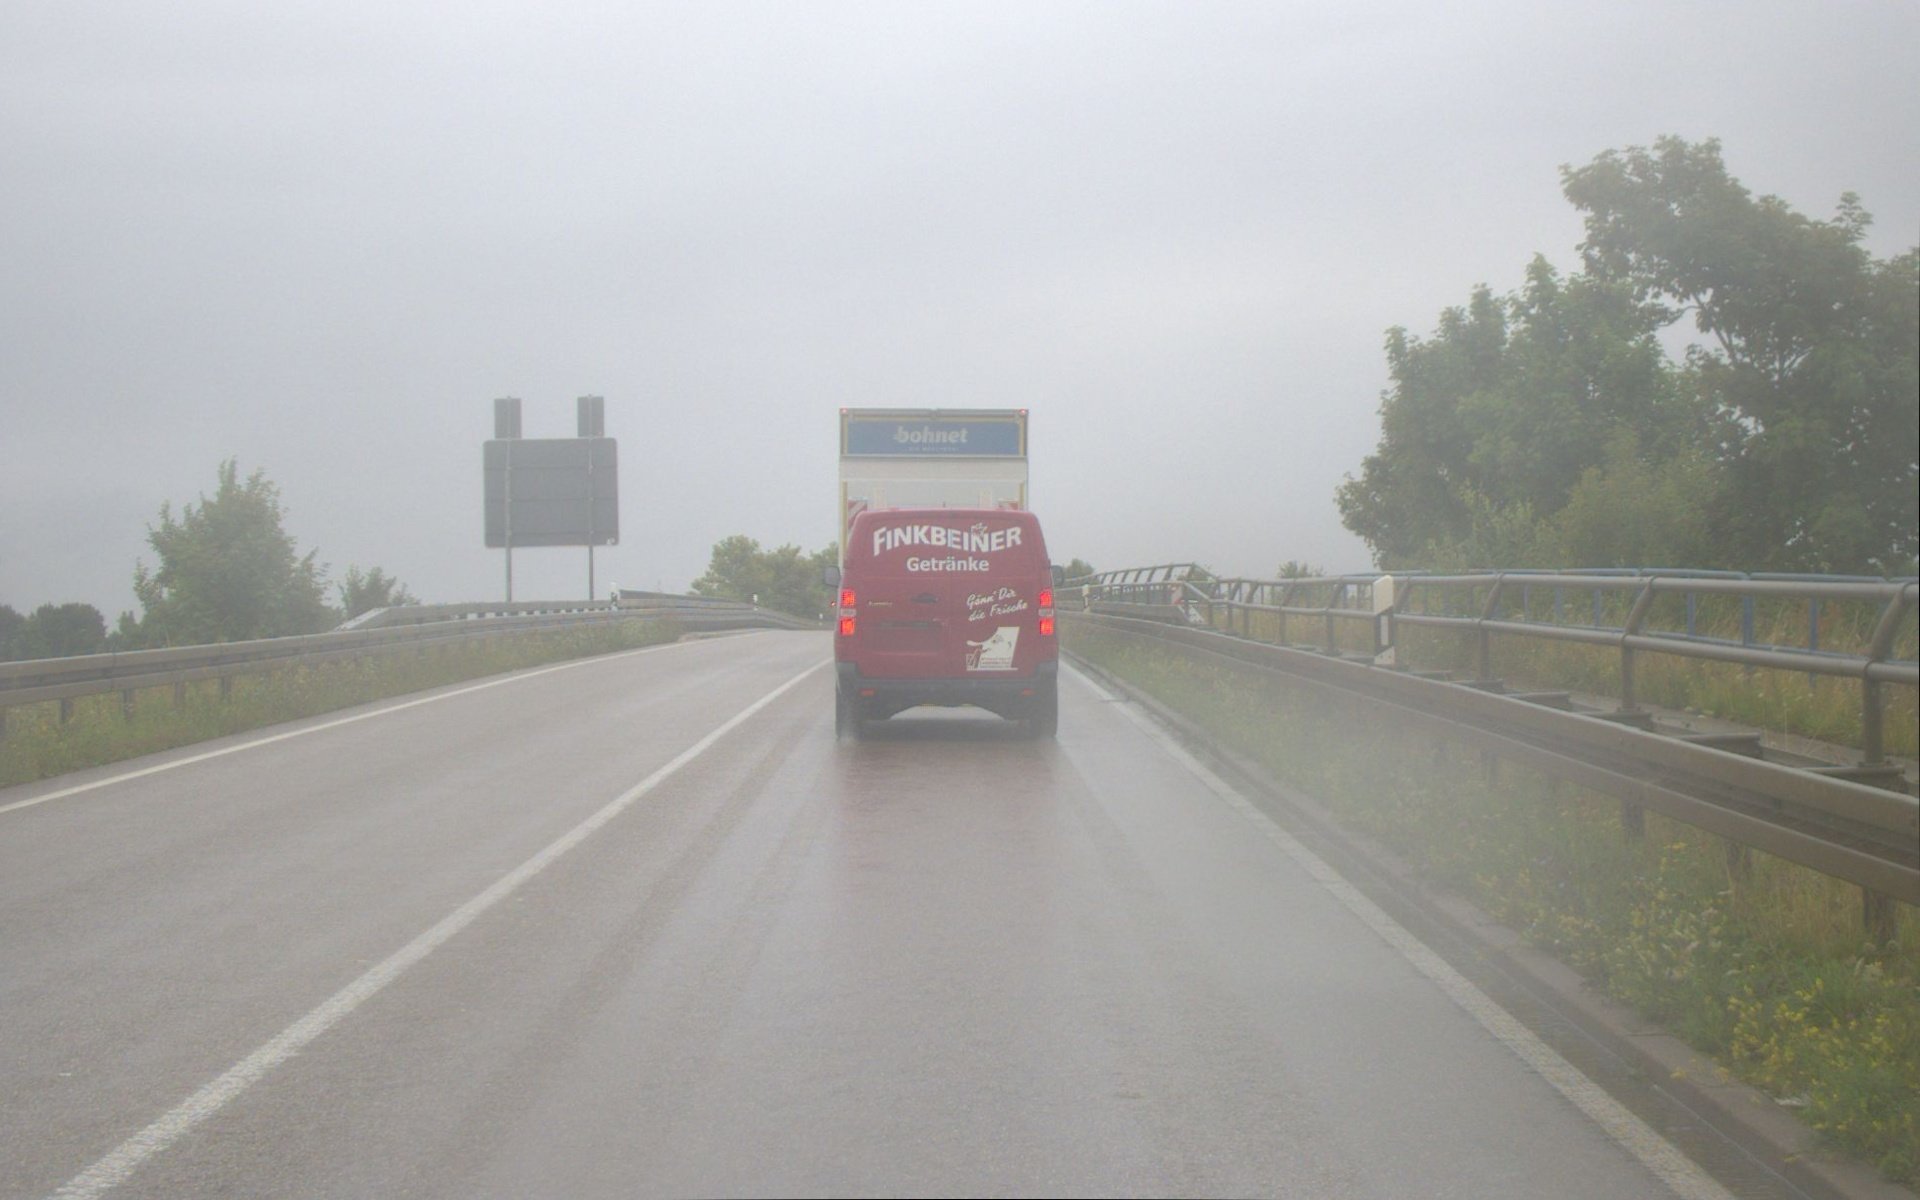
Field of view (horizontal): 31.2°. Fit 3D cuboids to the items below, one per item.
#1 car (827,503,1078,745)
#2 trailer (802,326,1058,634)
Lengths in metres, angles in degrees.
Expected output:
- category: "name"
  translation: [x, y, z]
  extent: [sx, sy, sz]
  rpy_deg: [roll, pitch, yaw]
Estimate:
- category: "car"
  translation: [-0.085, 0.170, 29.729]
  extent: [1.993, 1.919, 4.143]
  rpy_deg: [1, 1, -1]
- category: "trailer"
  translation: [-0.281, -1.543, 49.801]
  extent: [3.201, 3.909, 8.738]
  rpy_deg: [3, -1, 2]
